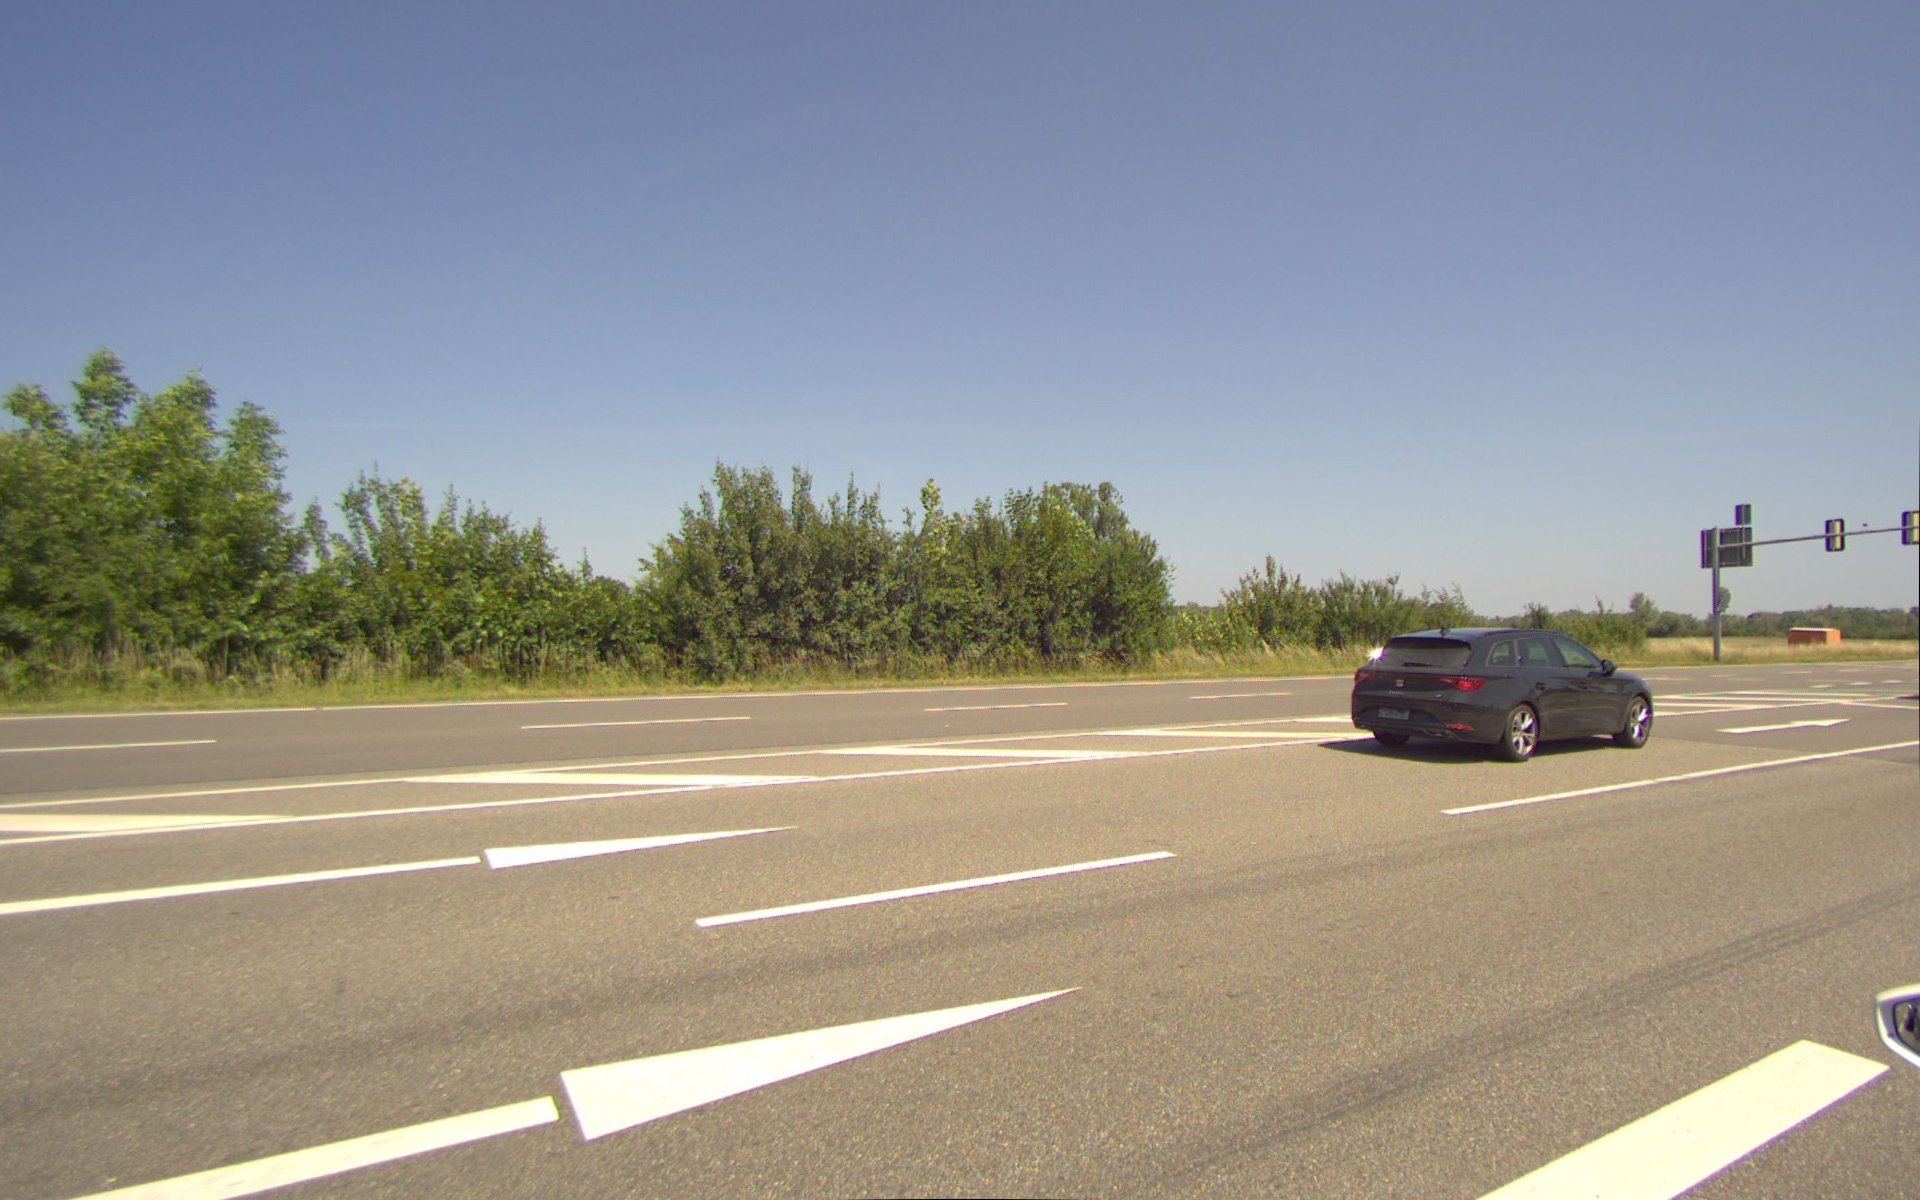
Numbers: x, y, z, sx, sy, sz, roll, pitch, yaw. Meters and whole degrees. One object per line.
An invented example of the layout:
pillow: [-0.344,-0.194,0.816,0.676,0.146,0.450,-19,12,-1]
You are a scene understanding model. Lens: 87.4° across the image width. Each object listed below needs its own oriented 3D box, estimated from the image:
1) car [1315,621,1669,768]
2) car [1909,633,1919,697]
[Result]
car: [6.561,1.051,12.239,4.477,1.466,1.878,2,-1,-33]
car: [23.833,1.544,23.285,4.419,1.430,1.665,2,-1,-33]
